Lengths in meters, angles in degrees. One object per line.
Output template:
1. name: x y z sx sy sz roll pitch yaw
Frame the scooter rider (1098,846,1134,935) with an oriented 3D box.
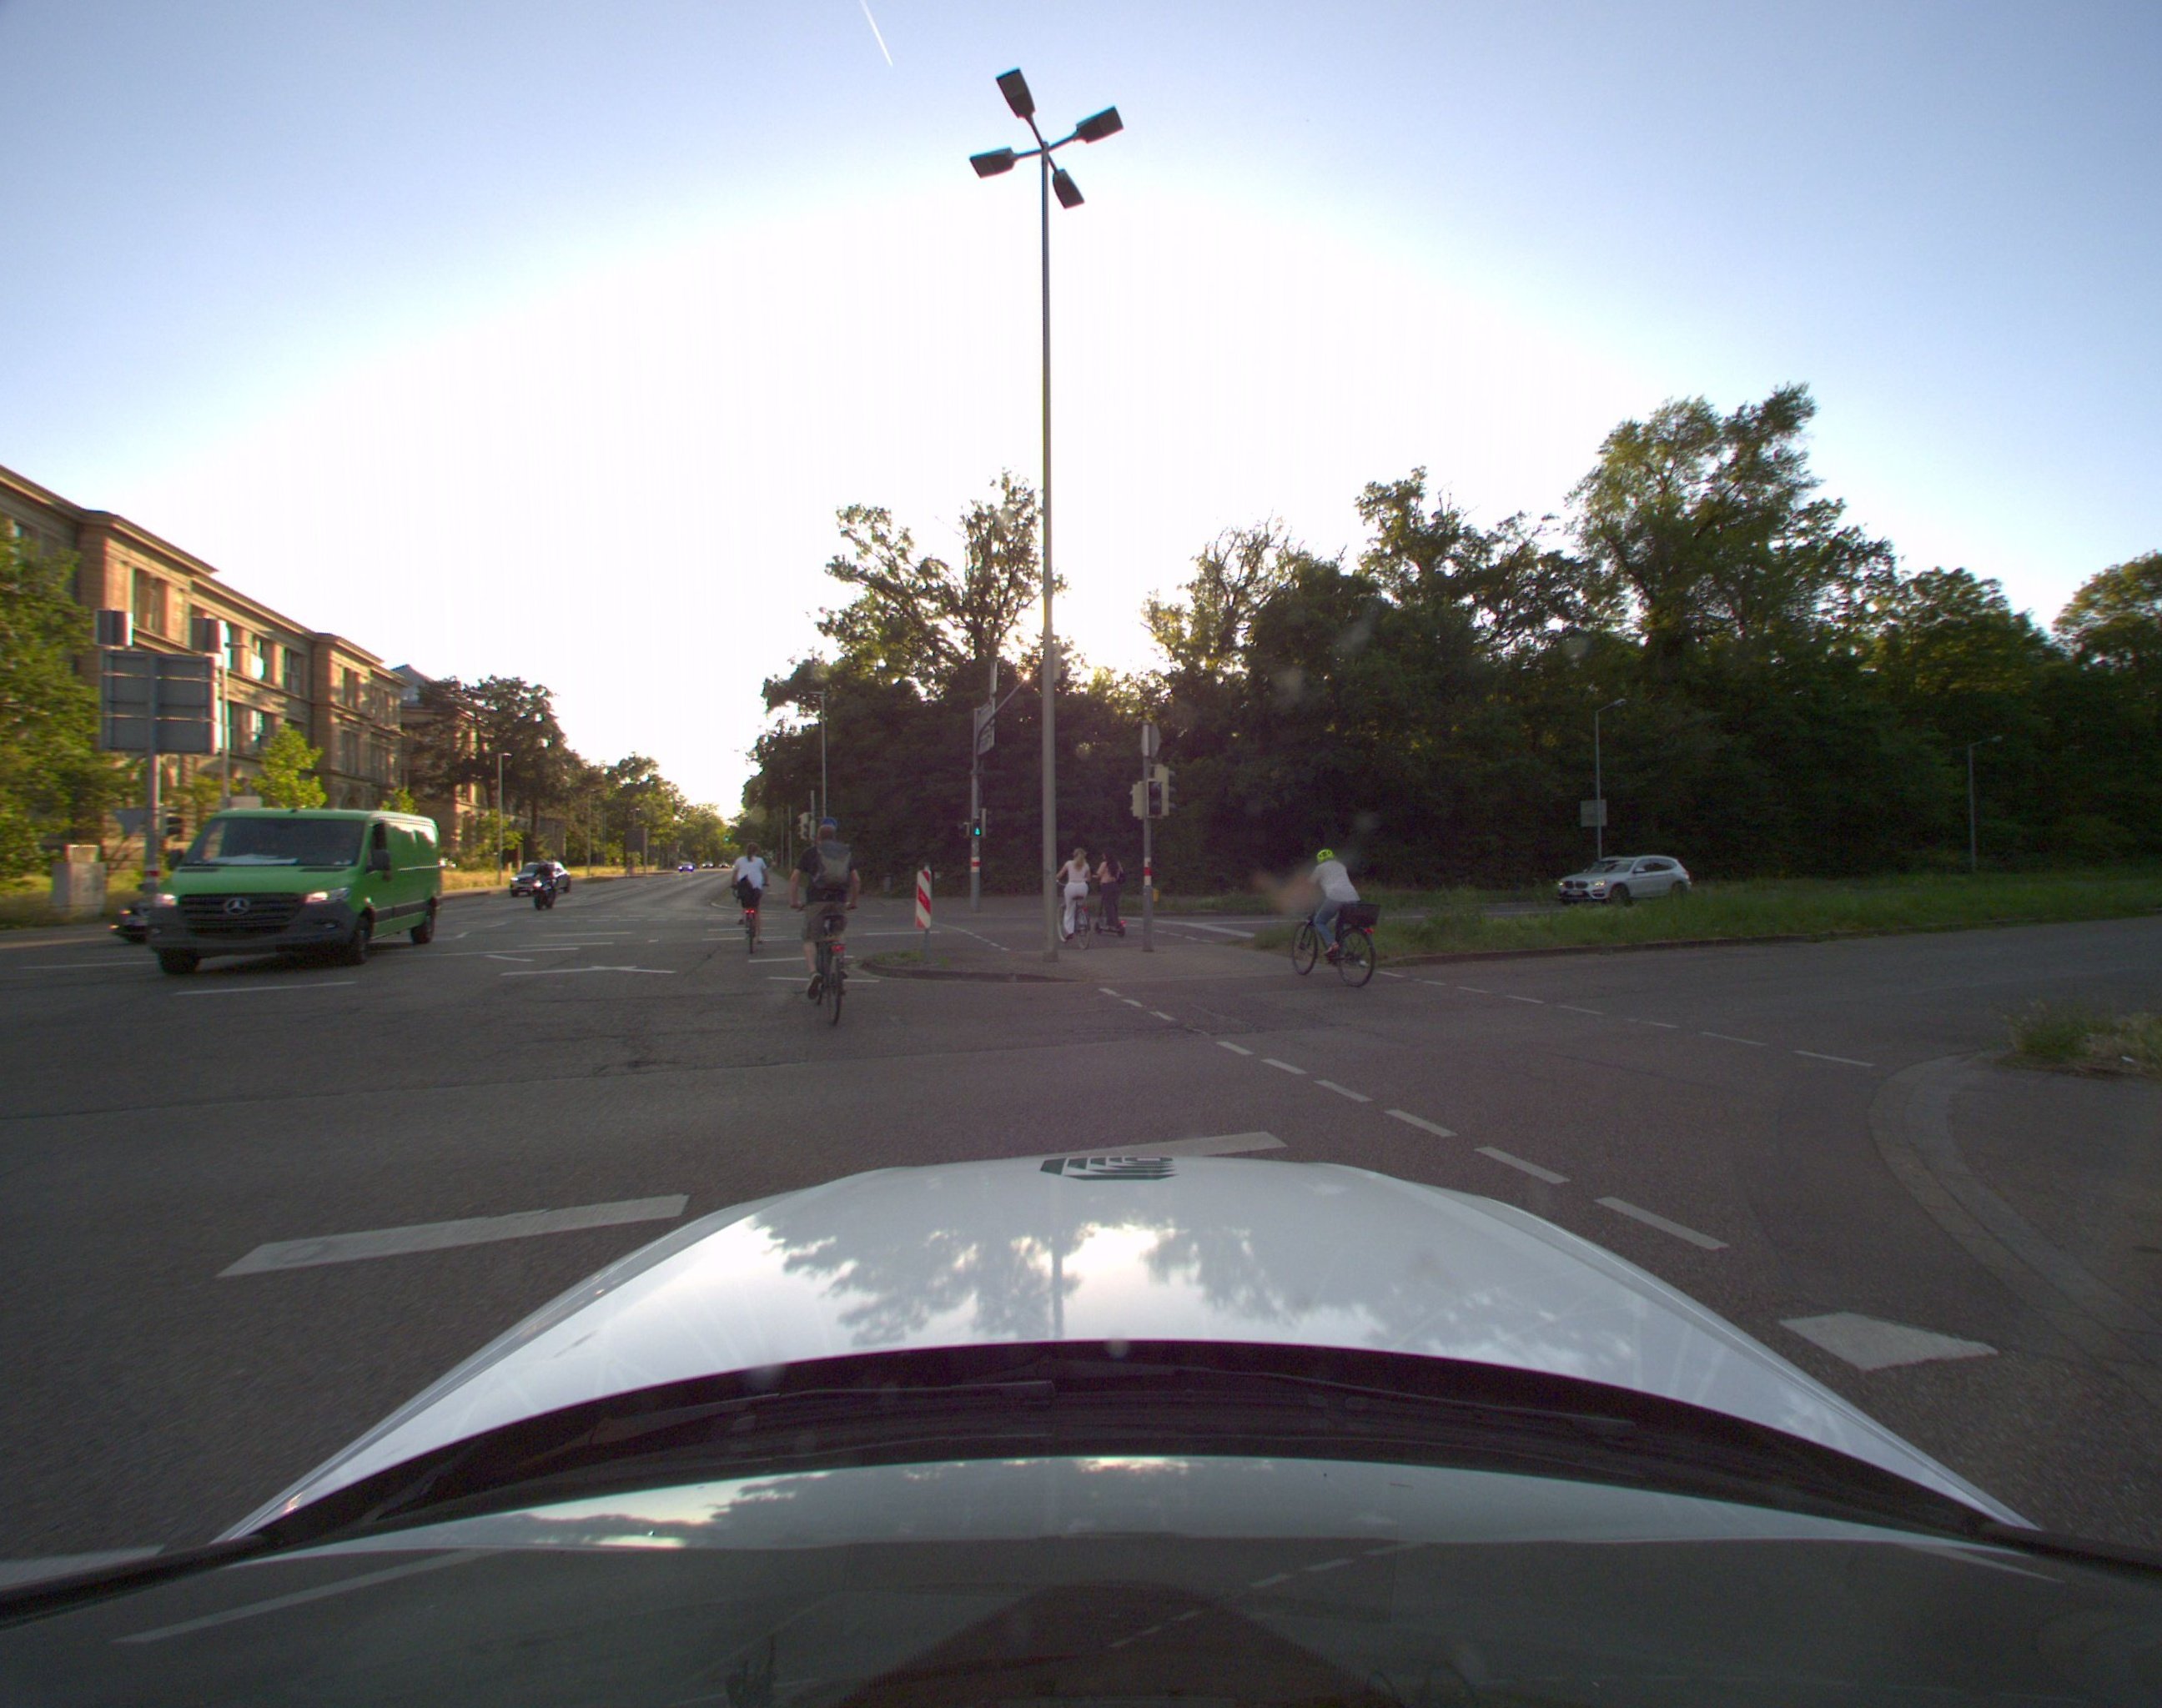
1. scooter rider: 0.709 0.726 16.571 0.567 1.767 0.501 0 -1 -20

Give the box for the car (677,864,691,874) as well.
1. car: -59.224 2.204 121.585 1.779 1.474 3.745 0 -1 -25

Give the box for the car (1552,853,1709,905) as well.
1. car: 18.148 0.812 26.909 4.639 1.614 1.816 0 -3 -19

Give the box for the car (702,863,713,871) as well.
1. car: -75.725 2.571 165.283 2.003 1.640 3.968 0 -1 -24

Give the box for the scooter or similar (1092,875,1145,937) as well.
1. scooter or similar: 0.740 1.027 16.493 0.564 1.189 1.412 0 -1 -20

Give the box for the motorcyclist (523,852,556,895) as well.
1. motorcyclist: -17.579 0.628 26.460 0.752 1.358 0.699 -1 -1 -21

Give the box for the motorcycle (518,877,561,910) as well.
1. motorcycle: -17.596 1.266 26.497 0.757 1.001 1.865 0 -1 -21

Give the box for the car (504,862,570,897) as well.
1. car: -27.395 1.252 41.147 1.771 1.635 4.481 0 -1 -21

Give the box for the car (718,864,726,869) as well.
1. car: -95.294 3.258 216.285 2.002 1.266 3.969 0 -1 -23

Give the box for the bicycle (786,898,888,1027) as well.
1. bicycle: -2.477 1.007 8.131 0.702 1.063 1.810 1 -1 -25

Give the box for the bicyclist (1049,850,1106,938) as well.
1. bicyclist: -0.066 0.699 14.539 0.762 1.518 0.850 0 -1 -21

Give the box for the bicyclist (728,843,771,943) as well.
1. bicyclist: -5.474 0.633 13.485 0.606 1.586 0.903 1 -1 -21

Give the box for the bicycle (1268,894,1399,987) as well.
1. bicycle: 3.157 1.047 10.368 0.566 1.014 1.788 0 -1 -24

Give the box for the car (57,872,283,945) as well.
1. car: -19.426 1.094 17.614 1.771 1.328 3.617 0 -1 -21

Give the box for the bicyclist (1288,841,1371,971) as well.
1. bicyclist: 3.150 0.627 10.375 0.556 1.569 0.892 0 -1 -24

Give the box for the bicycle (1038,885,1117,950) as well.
1. bicycle: -0.097 1.099 14.613 0.773 1.007 2.002 1 -1 -21

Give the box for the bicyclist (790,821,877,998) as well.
1. bicyclist: -2.491 0.529 8.177 0.702 1.667 0.791 1 -1 -26

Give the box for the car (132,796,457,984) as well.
1. car: -11.931 0.468 12.994 2.050 2.278 5.889 0 -1 -27

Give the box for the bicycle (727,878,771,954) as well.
1. bicycle: -5.471 0.979 13.486 0.615 1.138 1.871 1 -1 -21
